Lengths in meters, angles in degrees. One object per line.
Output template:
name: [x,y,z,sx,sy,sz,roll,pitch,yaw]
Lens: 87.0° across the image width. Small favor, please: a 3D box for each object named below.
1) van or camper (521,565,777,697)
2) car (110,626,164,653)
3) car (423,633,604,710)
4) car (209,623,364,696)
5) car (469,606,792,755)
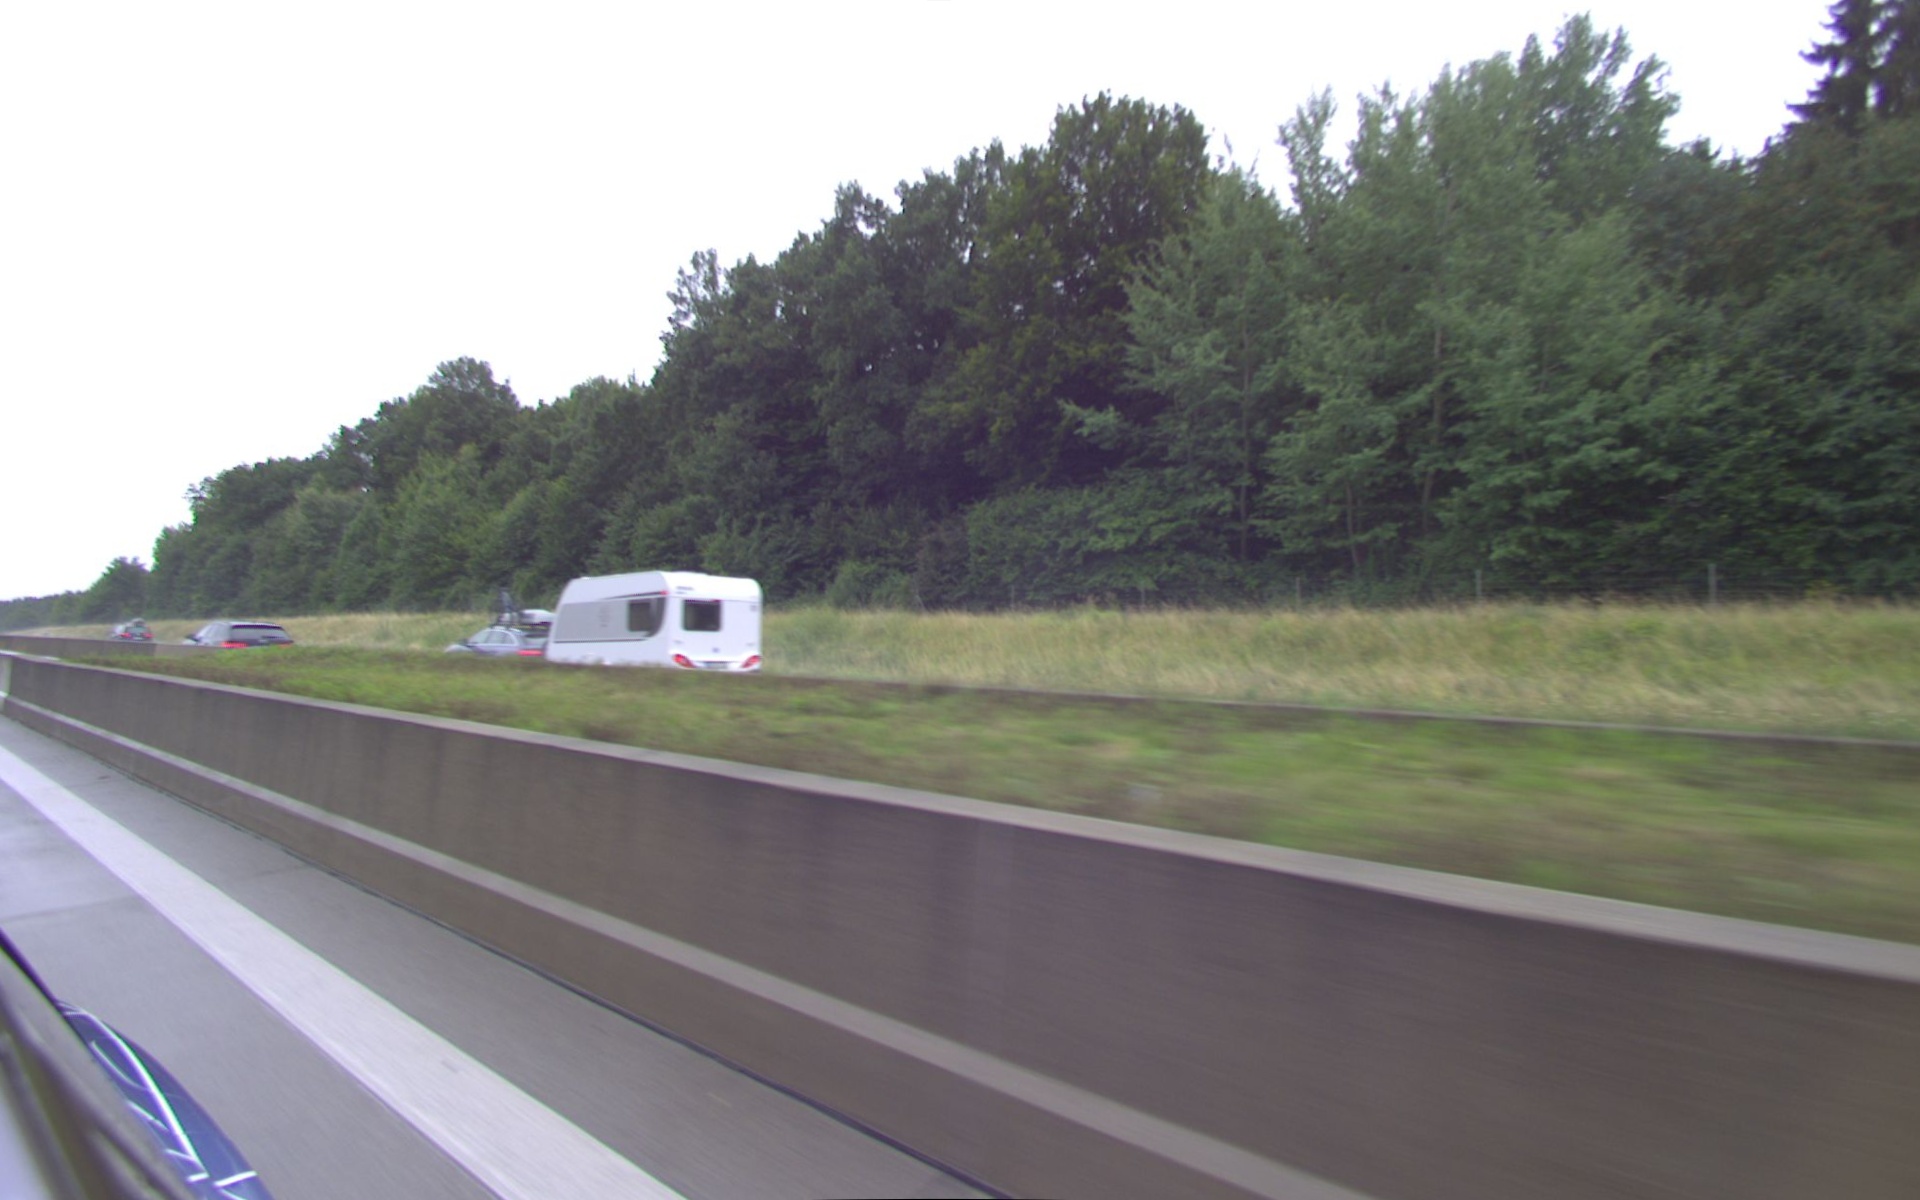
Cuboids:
van or camper: [-6.788,0.637,21.719,5.915,2.447,2.475,-1,-2,41]
car: [-57.224,2.736,70.320,4.849,1.816,2.039,-1,-2,41]
car: [-11.259,1.700,25.318,5.406,1.657,1.973,-1,-3,41]
car: [-16.638,1.388,24.899,4.851,1.622,2.038,-2,-2,42]
car: [-4.668,0.984,13.885,5.084,1.697,1.836,-1,-2,41]
